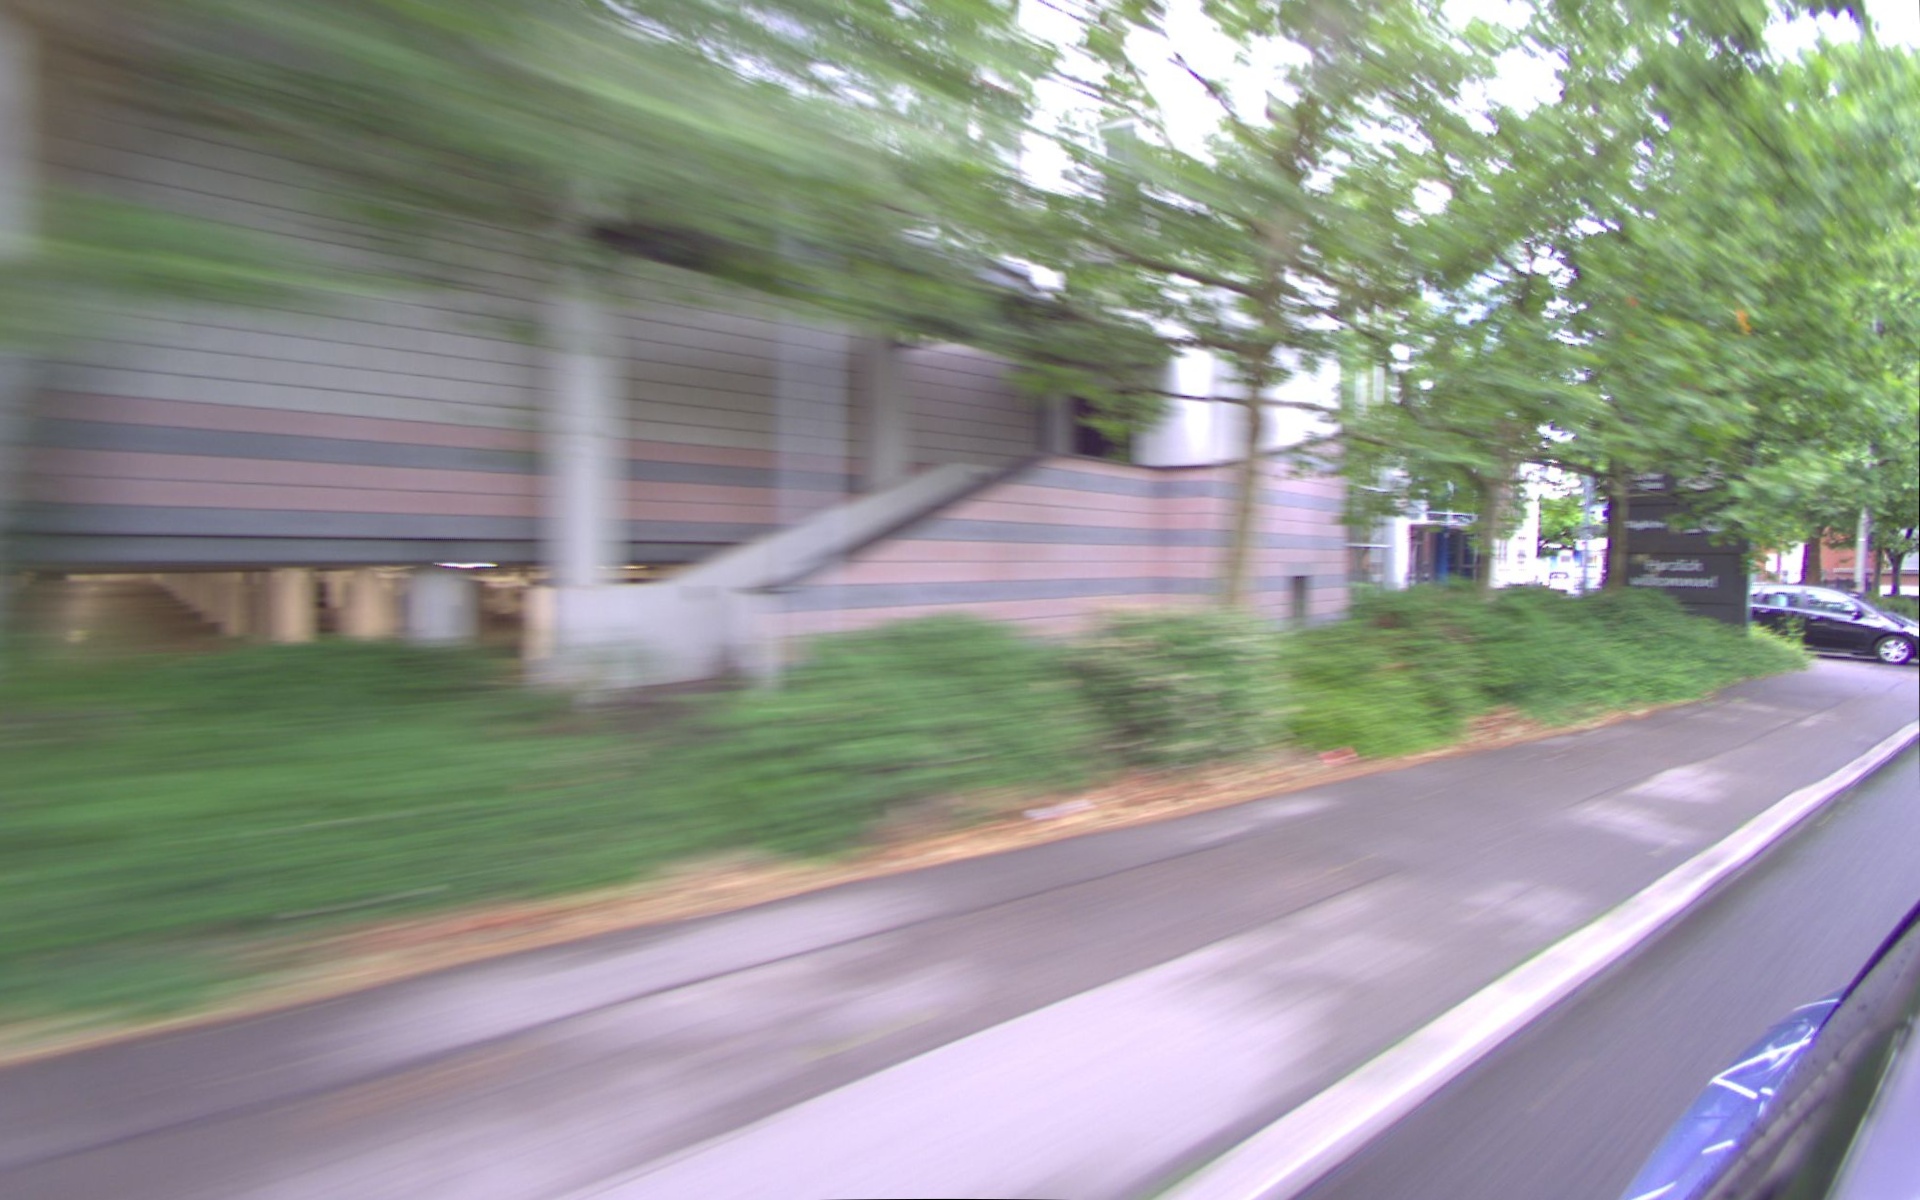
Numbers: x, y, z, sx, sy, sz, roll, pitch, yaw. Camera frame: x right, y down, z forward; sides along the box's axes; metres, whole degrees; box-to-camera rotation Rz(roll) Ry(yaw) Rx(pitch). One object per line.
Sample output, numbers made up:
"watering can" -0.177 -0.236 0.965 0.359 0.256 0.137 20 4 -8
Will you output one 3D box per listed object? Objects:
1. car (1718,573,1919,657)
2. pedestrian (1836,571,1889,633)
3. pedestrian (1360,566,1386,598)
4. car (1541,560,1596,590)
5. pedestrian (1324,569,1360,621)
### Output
"car" 19.193 0.279 22.190 3.850 1.566 1.995 5 4 44
"pedestrian" 24.781 0.045 27.787 0.689 1.637 0.920 0 2 -37
"pedestrian" 14.717 -0.641 36.086 0.552 1.145 0.623 0 2 -37
"car" 39.589 -1.657 65.862 3.928 1.840 1.912 -3 1 -40
"pedestrian" 13.753 -0.183 36.426 0.941 1.851 0.832 0 0 -34
